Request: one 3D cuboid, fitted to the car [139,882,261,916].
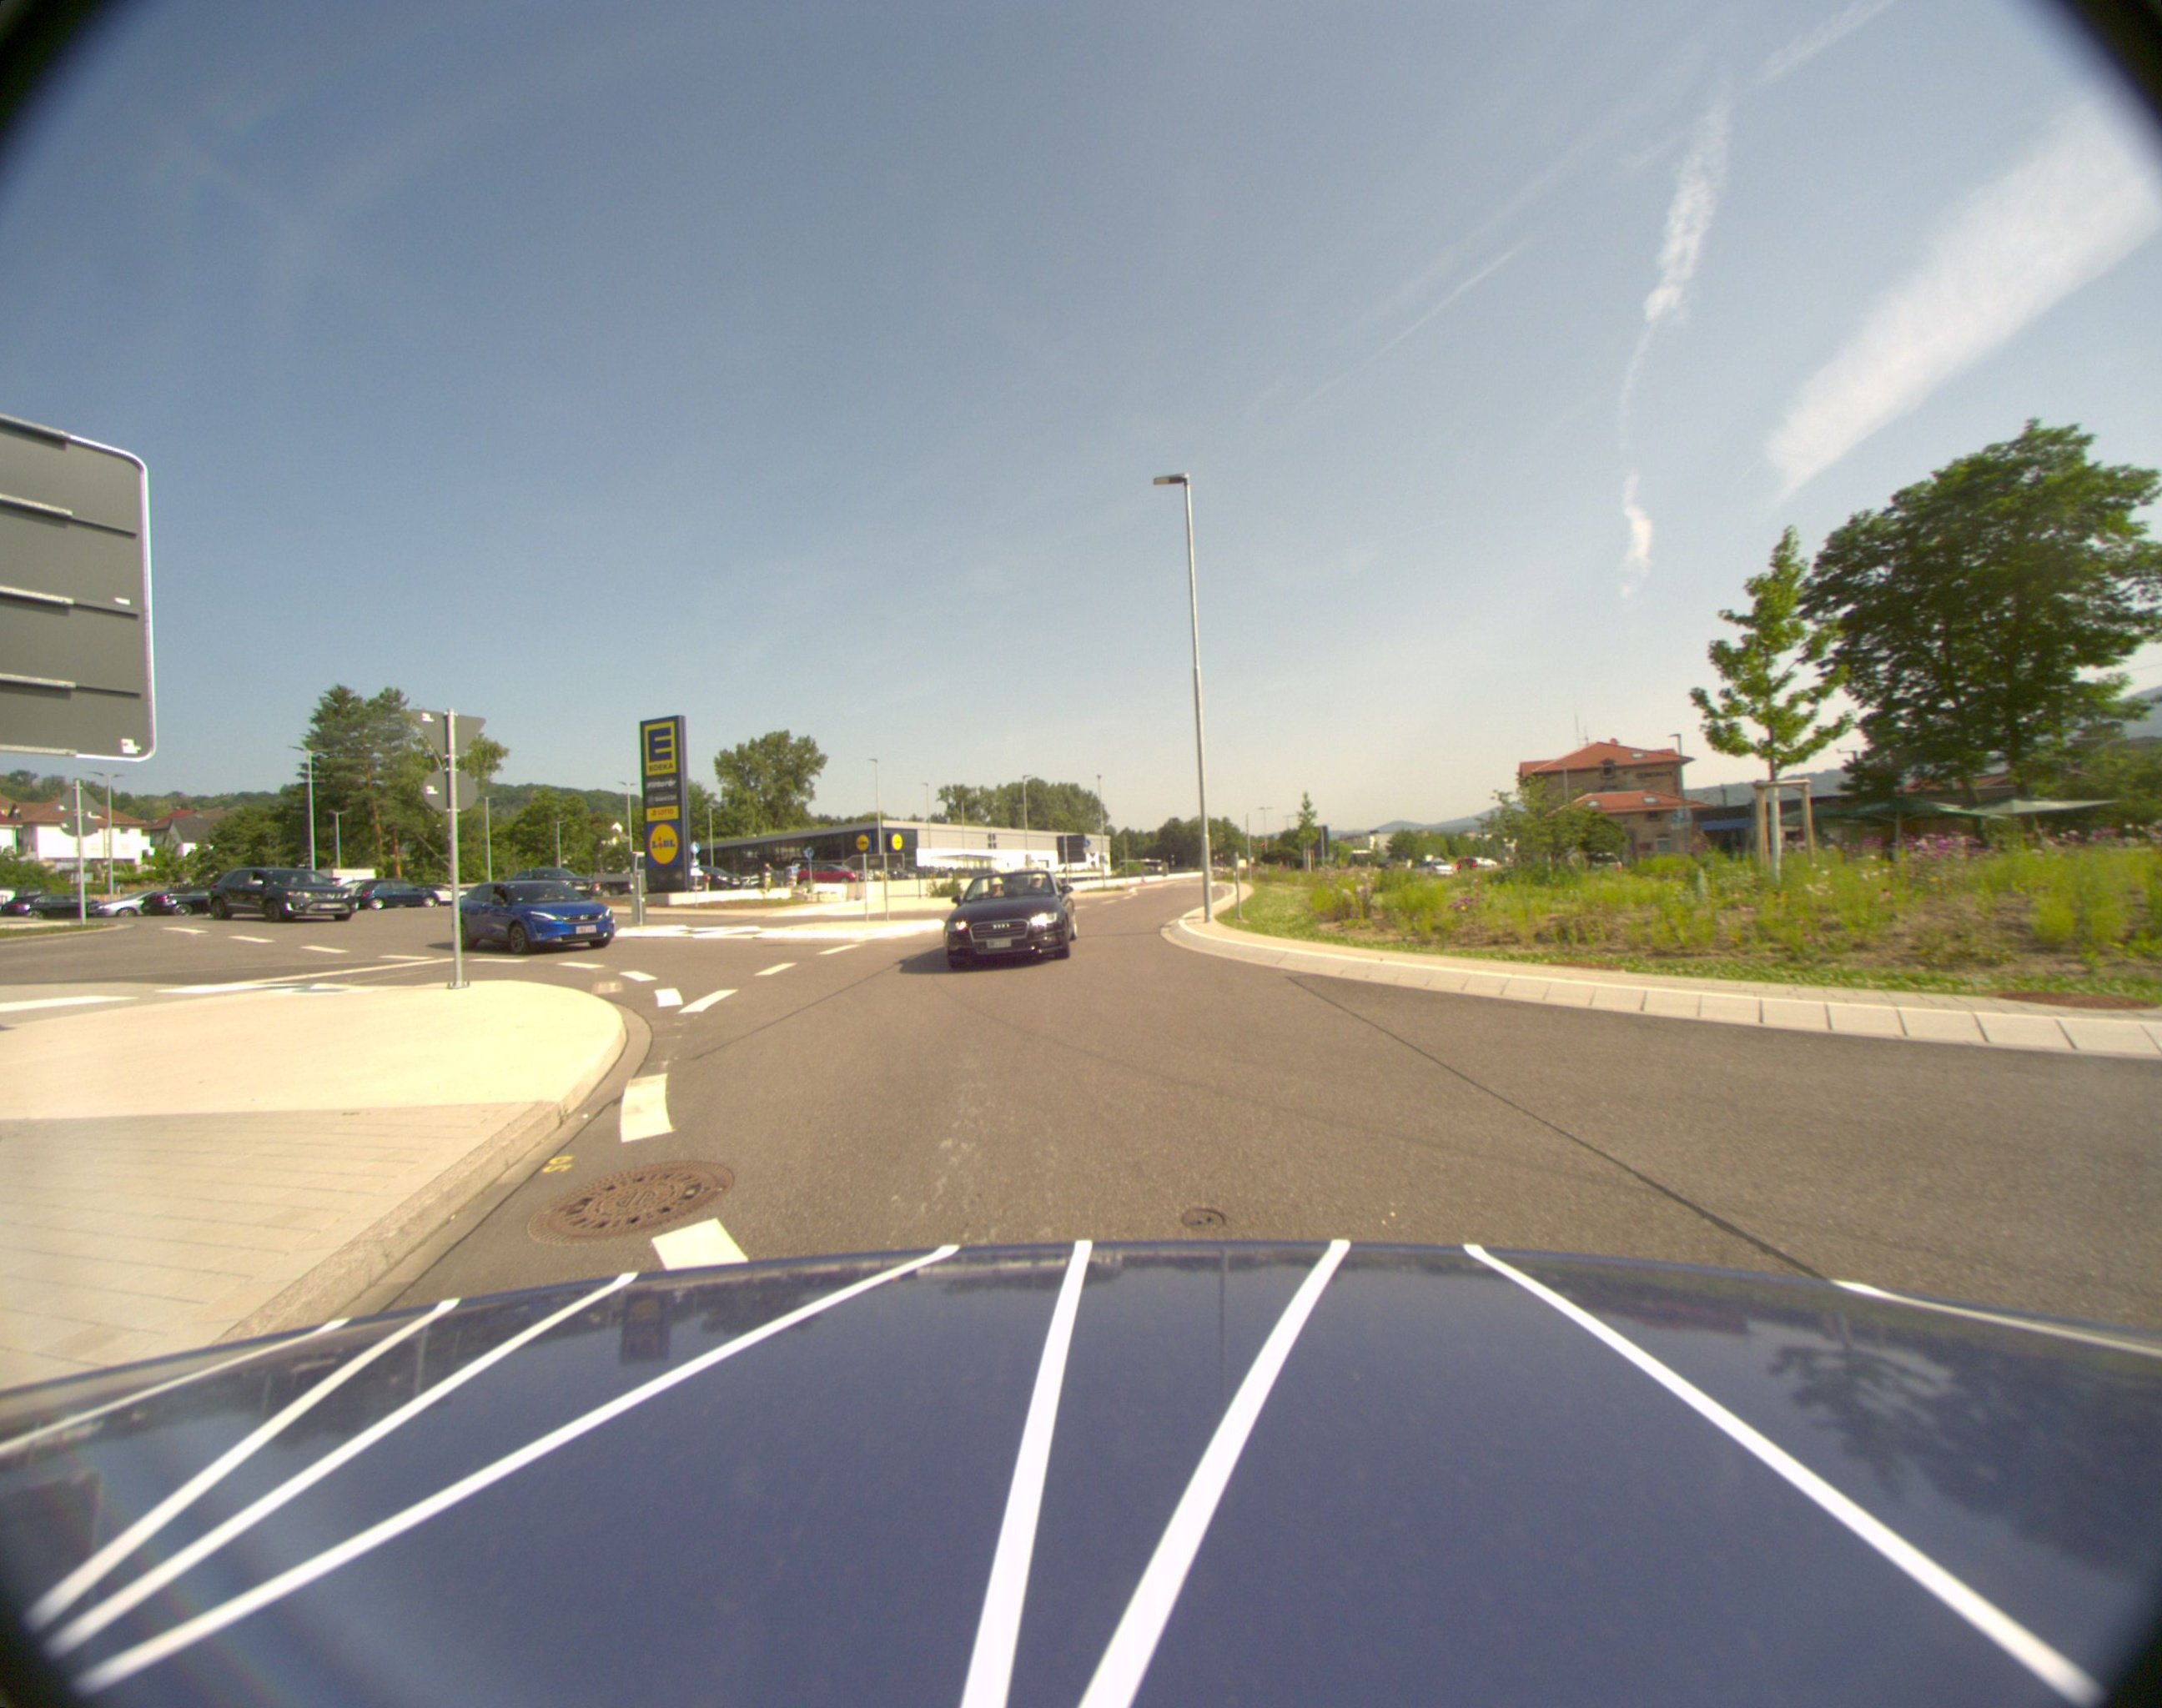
[{"bbox_3d":[-40.898,2.079,35.363,1.523,1.365,3.369,-4,-2,10],"label":"car"}]

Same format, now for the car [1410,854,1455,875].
[{"bbox_3d":[27.361,0.843,59.301,1.674,1.522,4.001,-2,-1,1],"label":"car"}]

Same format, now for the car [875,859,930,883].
[{"bbox_3d":[-14.578,1.374,62.074,3.997,1.564,1.704,-5,-1,0],"label":"car"}]

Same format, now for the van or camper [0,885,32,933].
[{"bbox_3d":[-68.653,3.503,46.119,2.291,2.830,5.293,-5,-2,17],"label":"van or camper"}]

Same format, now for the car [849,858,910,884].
[{"bbox_3d":[-15.003,1.254,56.815,3.997,1.564,1.704,-5,-1,0],"label":"car"}]

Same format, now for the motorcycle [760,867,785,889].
[{"bbox_3d":[-18.467,1.435,45.480,1.898,1.183,0.592,-6,-3,44],"label":"motorcycle"}]

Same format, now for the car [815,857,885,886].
[{"bbox_3d":[-15.494,1.163,51.023,4.018,1.564,1.780,-5,-1,3],"label":"car"}]

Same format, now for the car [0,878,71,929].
[{"bbox_3d":[-58.643,2.705,40.911,1.996,2.601,4.653,-5,-2,17],"label":"car"}]

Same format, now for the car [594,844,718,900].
[{"bbox_3d":[-22.166,0.959,39.629,6.080,2.369,2.064,-5,-1,20],"label":"car"}]

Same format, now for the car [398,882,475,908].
[{"bbox_3d":[-46.717,2.924,55.156,1.760,1.564,3.792,-5,-2,18],"label":"car"}]

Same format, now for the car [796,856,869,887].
[{"bbox_3d":[-15.884,1.126,48.678,4.018,1.564,1.780,-5,-1,3],"label":"car"}]

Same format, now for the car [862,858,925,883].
[{"bbox_3d":[-14.666,1.305,59.501,4.412,1.564,1.704,-5,-1,0],"label":"car"}]

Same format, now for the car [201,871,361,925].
[{"bbox_3d":[-24.064,1.269,22.868,4.220,1.384,1.646,1,1,18],"label":"car"}]

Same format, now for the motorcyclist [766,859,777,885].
[{"bbox_3d":[-18.731,1.099,45.982,0.515,1.533,0.581,-4,-1,-20],"label":"motorcyclist"}]

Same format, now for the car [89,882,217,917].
[{"bbox_3d":[-45.846,2.204,37.633,1.523,1.436,3.637,-5,-2,19],"label":"car"}]

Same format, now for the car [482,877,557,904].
[{"bbox_3d":[-38.932,2.502,52.770,1.760,1.564,3.792,-5,-2,18],"label":"car"}]

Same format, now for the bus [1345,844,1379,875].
[{"bbox_3d":[33.363,0.669,90.540,2.584,3.308,10.602,-5,-2,16],"label":"bus"}]

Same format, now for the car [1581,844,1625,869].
[{"bbox_3d":[38.077,0.145,55.505,1.676,1.559,3.656,-5,0,20],"label":"car"}]

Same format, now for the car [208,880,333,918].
[{"bbox_3d":[-37.770,2.072,35.534,1.523,1.436,3.637,-5,-2,19],"label":"car"}]

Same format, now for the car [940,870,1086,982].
[{"bbox_3d":[-0.911,1.024,12.417,1.721,1.314,4.225,-4,0,3],"label":"car"}]

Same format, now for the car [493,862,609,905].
[{"bbox_3d":[-24.056,1.325,34.500,4.850,1.521,1.925,-6,-2,23],"label":"car"}]

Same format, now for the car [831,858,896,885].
[{"bbox_3d":[-15.412,1.242,53.927,3.997,1.564,1.704,-5,-1,0],"label":"car"}]

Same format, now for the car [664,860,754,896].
[{"bbox_3d":[-20.657,1.327,42.170,4.468,1.592,1.836,-5,-2,21],"label":"car"}]

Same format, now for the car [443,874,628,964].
[{"bbox_3d":[-12.682,1.400,17.612,4.341,1.654,1.890,1,2,31],"label":"car"}]

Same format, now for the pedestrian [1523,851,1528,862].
[{"bbox_3d":[46.268,0.280,79.122,0.371,1.155,0.507,-5,-1,26],"label":"pedestrian"}]

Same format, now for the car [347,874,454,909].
[{"bbox_3d":[-36.012,1.974,40.325,1.760,1.564,3.792,-5,-2,18],"label":"car"}]
